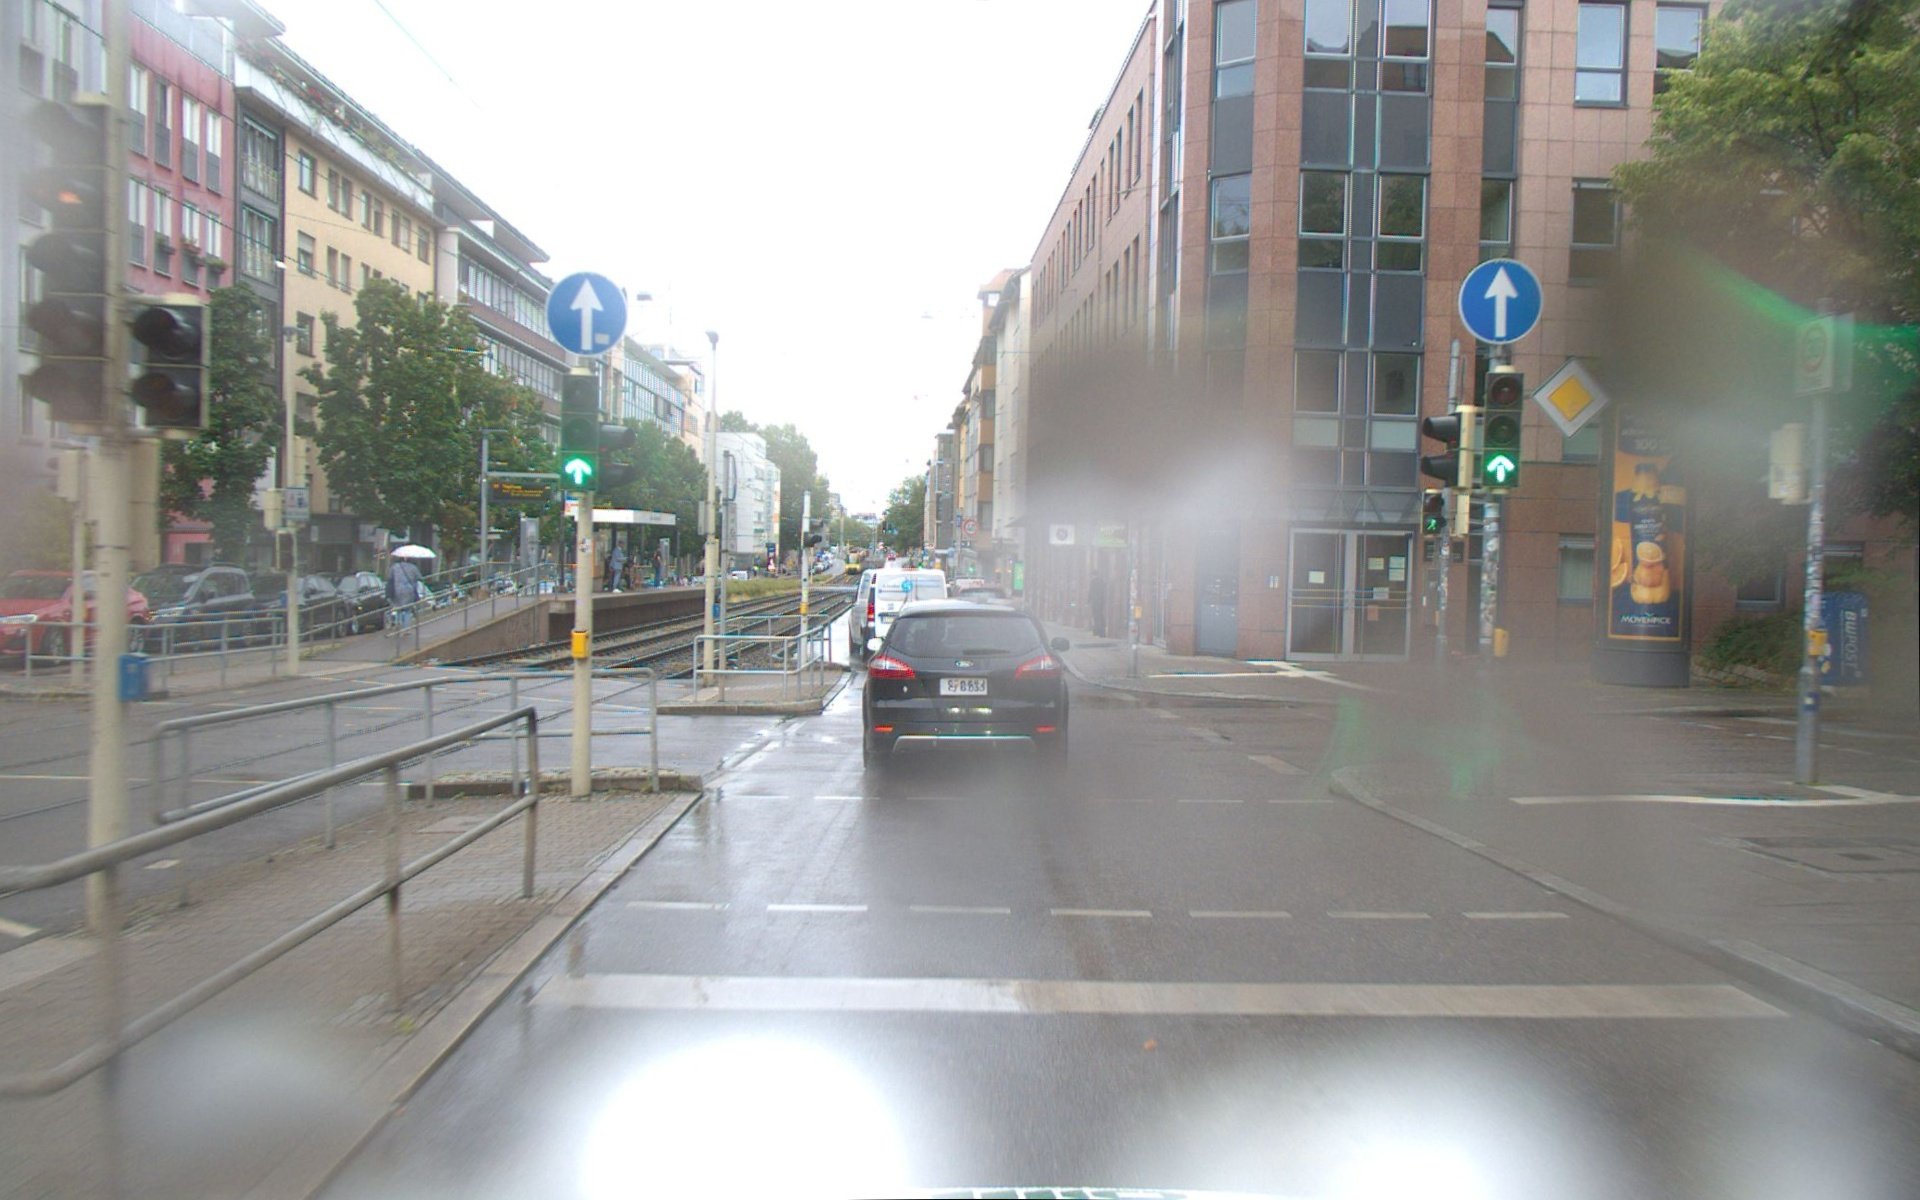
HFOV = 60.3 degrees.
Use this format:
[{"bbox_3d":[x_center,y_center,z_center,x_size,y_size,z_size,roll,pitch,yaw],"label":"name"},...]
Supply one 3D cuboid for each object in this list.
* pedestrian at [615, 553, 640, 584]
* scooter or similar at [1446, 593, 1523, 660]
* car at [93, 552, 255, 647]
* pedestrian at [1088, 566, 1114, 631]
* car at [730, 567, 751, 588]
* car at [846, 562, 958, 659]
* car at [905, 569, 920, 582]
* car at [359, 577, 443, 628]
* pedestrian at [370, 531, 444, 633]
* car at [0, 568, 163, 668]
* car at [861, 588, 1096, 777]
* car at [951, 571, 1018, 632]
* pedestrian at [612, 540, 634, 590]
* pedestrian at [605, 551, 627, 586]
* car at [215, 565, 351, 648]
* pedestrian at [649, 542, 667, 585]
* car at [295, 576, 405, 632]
[{"bbox_3d":[-12.449,-1.192,61.936,0.876,1.143,0.847,0,1,-13],"label":"pedestrian"},{"bbox_3d":[9.878,0.501,31.185,1.346,1.248,0.325,0,0,0],"label":"scooter or similar"},{"bbox_3d":[-16.578,-0.032,35.112,1.674,1.890,4.317,0,1,-5],"label":"car"},{"bbox_3d":[3.642,-0.037,42.799,0.589,1.688,0.625,0,0,-2],"label":"pedestrian"},{"bbox_3d":[-21.414,-2.175,161.306,1.869,1.897,4.568,1,0,-5],"label":"car"},{"bbox_3d":[-1.300,0.195,35.033,1.871,1.897,4.565,1,0,-8],"label":"car"},{"bbox_3d":[-6.154,-3.138,214.856,1.868,1.662,4.572,1,0,-1],"label":"car"},{"bbox_3d":[-17.002,0.046,50.429,1.537,1.461,3.975,0,1,-5],"label":"car"},{"bbox_3d":[-11.401,-0.368,34.129,1.093,2.049,1.382,0,0,-3],"label":"pedestrian"},{"bbox_3d":[-16.325,0.256,29.914,1.691,1.640,4.552,1,1,-1],"label":"car"},{"bbox_3d":[0.095,0.659,14.997,1.868,1.488,3.443,1,0,-2],"label":"car"},{"bbox_3d":[0.614,0.035,44.182,1.664,1.505,3.866,-1,0,-1],"label":"car"},{"bbox_3d":[-11.728,-1.215,57.531,0.643,1.741,0.849,1,0,-5],"label":"pedestrian"},{"bbox_3d":[-12.434,-1.140,59.772,0.679,1.271,0.884,1,0,-5],"label":"pedestrian"},{"bbox_3d":[-16.229,0.122,39.883,1.767,1.890,4.376,0,1,-5],"label":"car"},{"bbox_3d":[-12.925,-1.570,70.847,0.643,1.833,0.849,1,0,-5],"label":"pedestrian"},{"bbox_3d":[-16.809,0.069,45.774,1.805,1.461,4.315,0,1,-5],"label":"car"}]
